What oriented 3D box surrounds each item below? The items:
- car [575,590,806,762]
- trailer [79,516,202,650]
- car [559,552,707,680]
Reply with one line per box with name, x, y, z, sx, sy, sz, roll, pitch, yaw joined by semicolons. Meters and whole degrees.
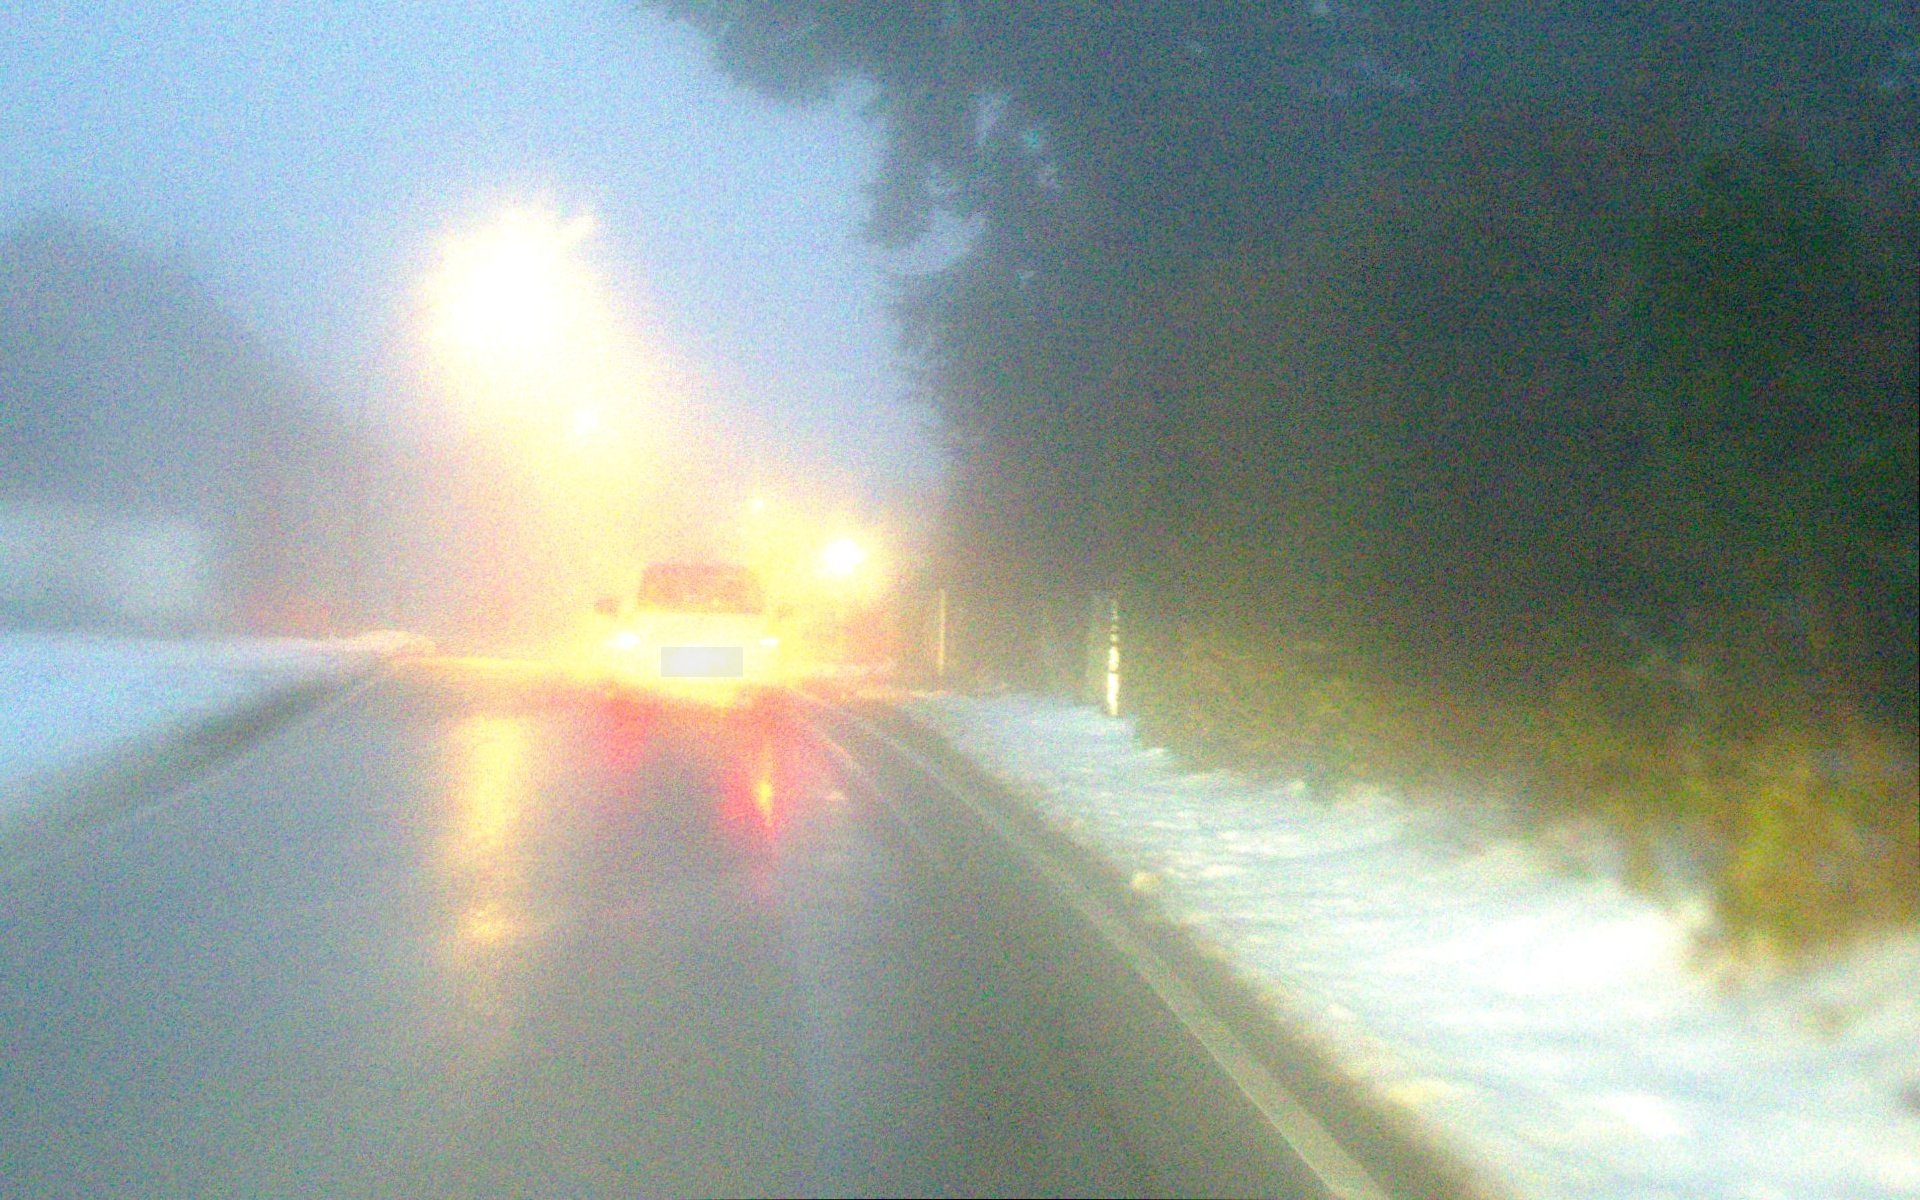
car;-2.467;0.669;32.342;1.993;1.503;4.000;0;0;-2
trailer;-16.296;-0.336;68.260;1.689;2.596;3.445;0;0;-25
car;-4.623;0.210;48.840;1.993;1.744;4.001;0;0;-5
